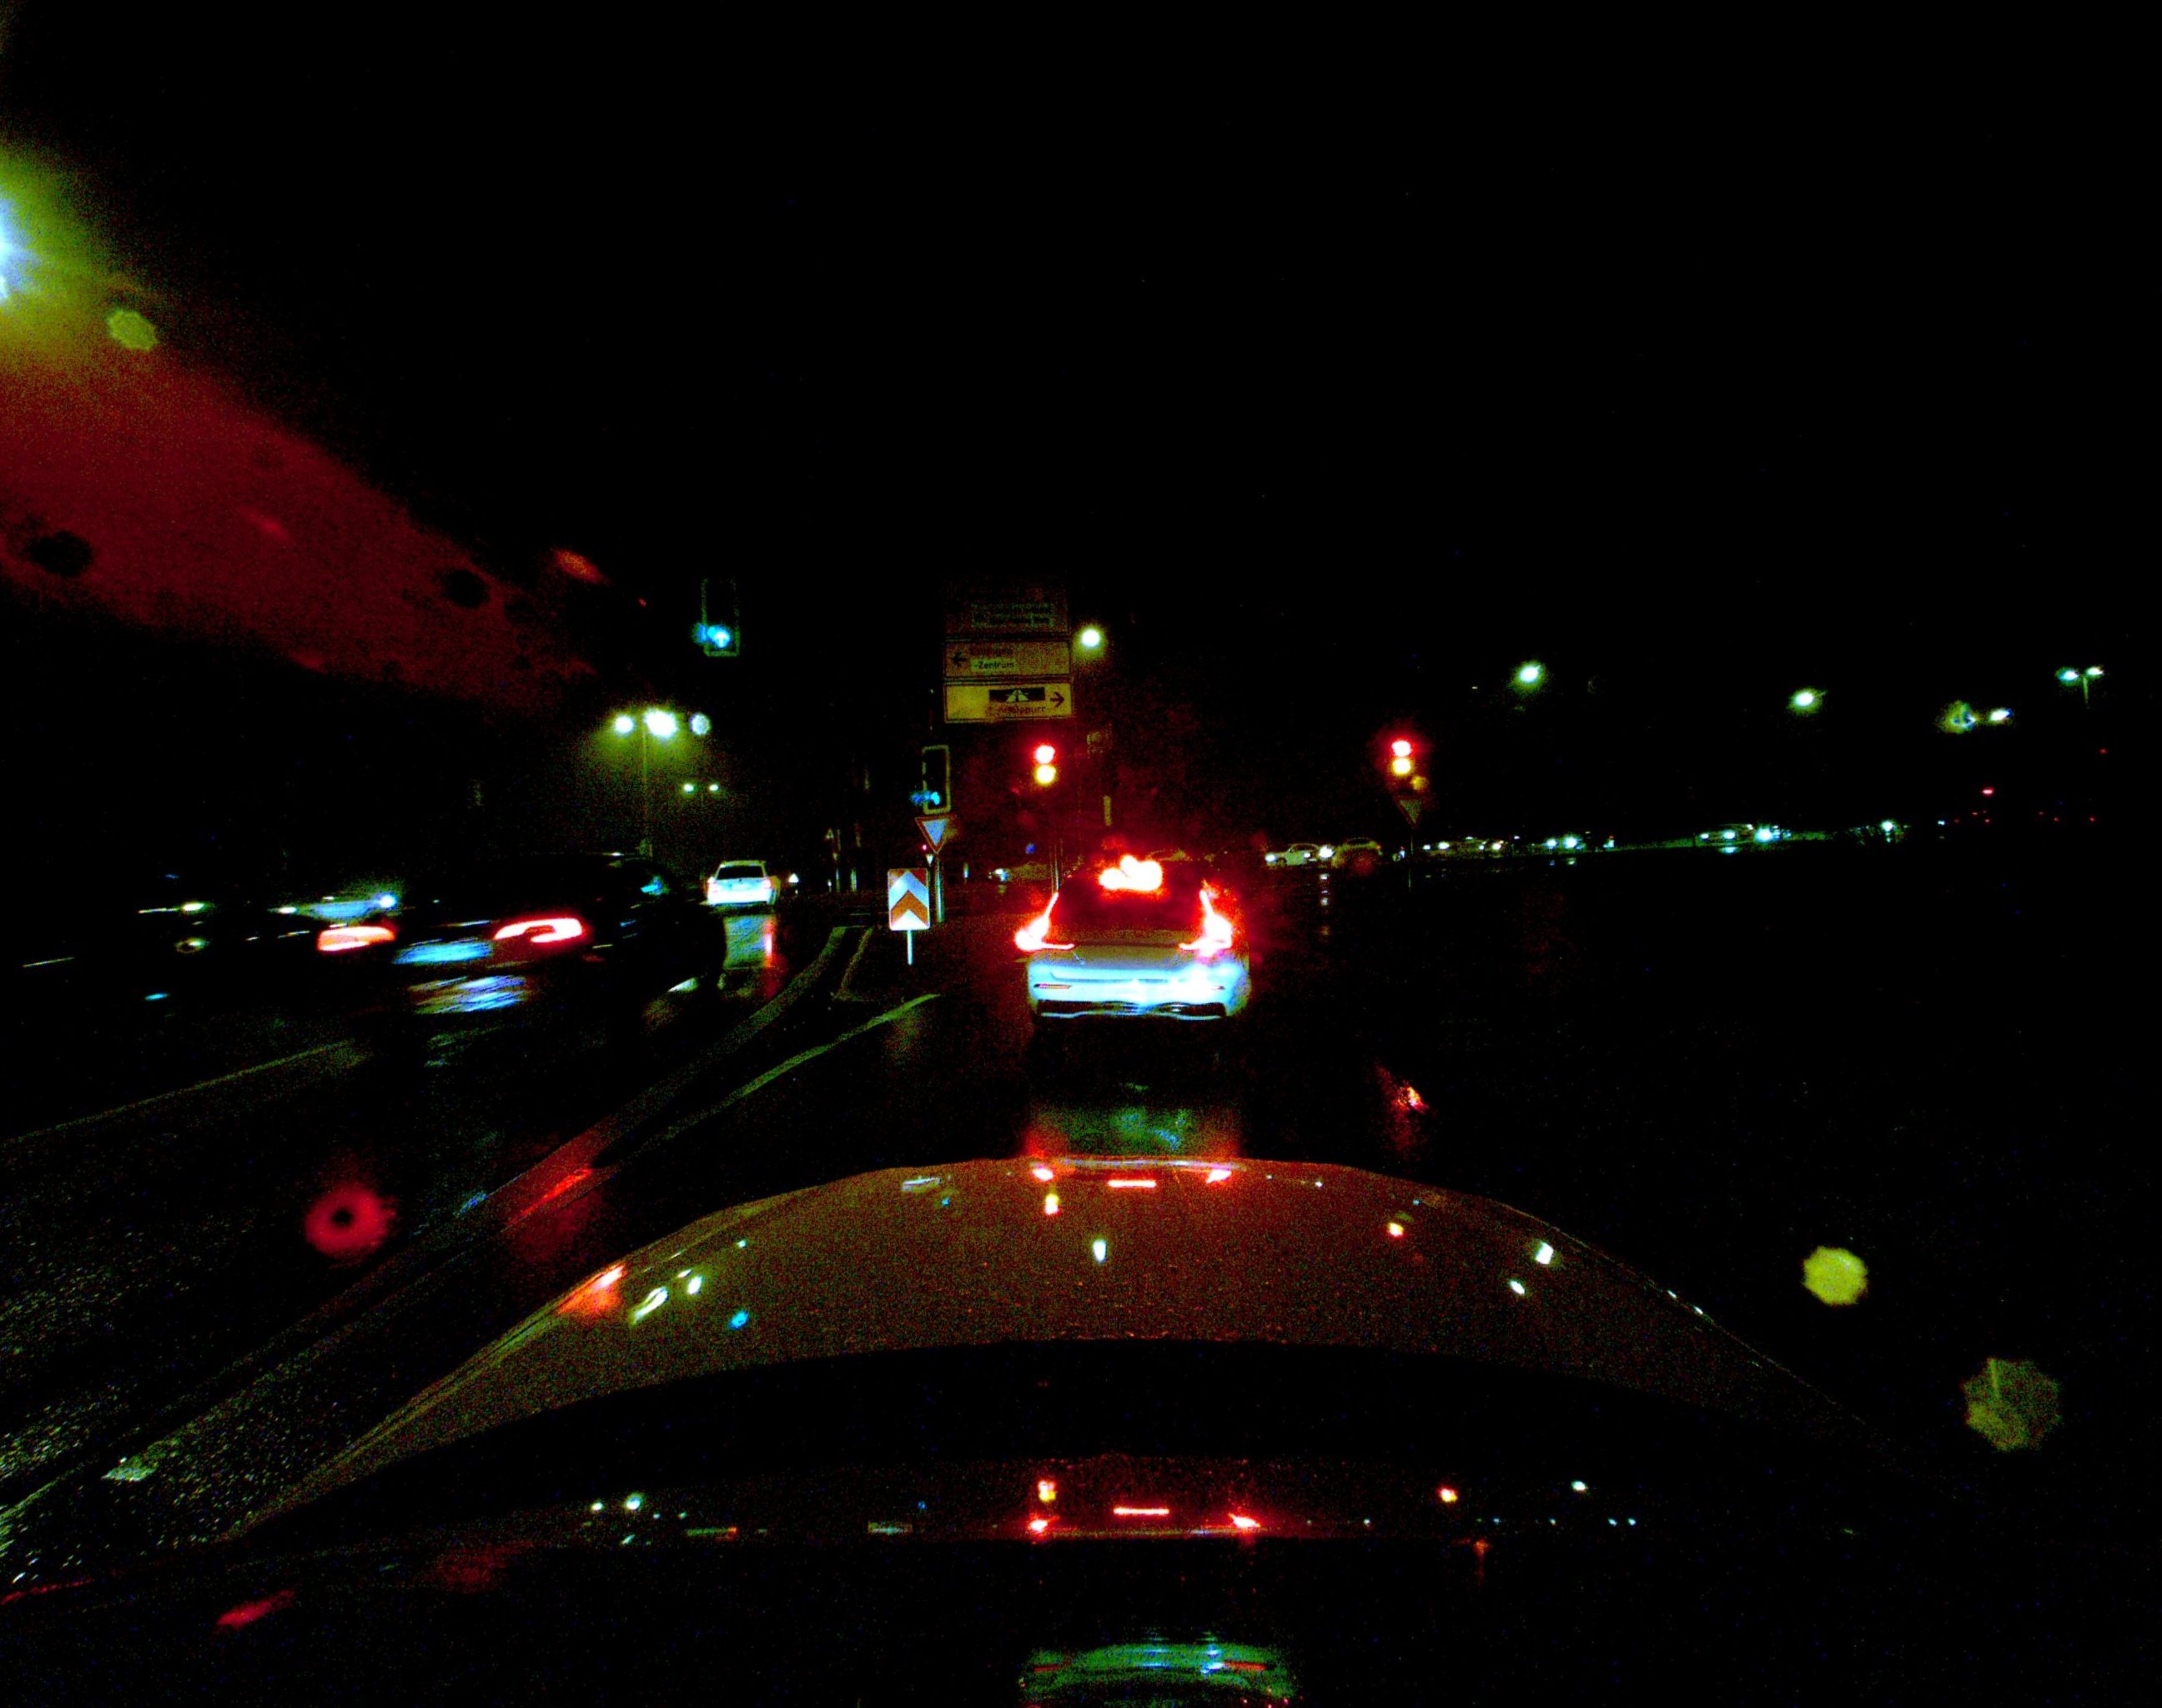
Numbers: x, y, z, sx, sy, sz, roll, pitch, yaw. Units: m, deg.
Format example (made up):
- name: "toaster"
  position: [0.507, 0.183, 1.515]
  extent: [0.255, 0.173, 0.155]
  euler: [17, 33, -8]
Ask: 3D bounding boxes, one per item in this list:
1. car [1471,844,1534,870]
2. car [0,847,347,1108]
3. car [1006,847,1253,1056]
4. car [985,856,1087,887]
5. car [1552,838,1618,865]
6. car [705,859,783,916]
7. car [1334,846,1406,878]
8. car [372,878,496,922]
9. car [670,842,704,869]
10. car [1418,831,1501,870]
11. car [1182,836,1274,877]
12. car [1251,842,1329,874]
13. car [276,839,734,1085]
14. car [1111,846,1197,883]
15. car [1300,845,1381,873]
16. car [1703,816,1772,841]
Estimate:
- name: "car"
  position: [29.404, 0.204, 56.790]
  extent: [4.131, 1.714, 1.751]
  euler: [-1, -1, -25]
- name: "car"
  position: [-8.068, 0.832, 6.189]
  extent: [1.911, 1.658, 3.970]
  euler: [-2, -1, -12]
- name: "car"
  position: [0.762, 0.690, 8.044]
  extent: [1.784, 1.452, 4.283]
  euler: [-1, 1, 11]
- name: "car"
  position: [-2.260, 0.850, 40.936]
  extent: [4.810, 1.427, 1.751]
  euler: [-1, -1, -24]
- name: "car"
  position: [33.181, -0.160, 53.613]
  extent: [3.983, 1.666, 1.789]
  euler: [-1, -1, -25]
- name: "car"
  position: [-9.712, 0.921, 23.725]
  extent: [1.704, 1.463, 4.288]
  euler: [-2, -1, -18]
- name: "car"
  position: [17.988, 0.494, 50.686]
  extent: [4.131, 1.848, 1.751]
  euler: [-1, -1, -25]
- name: "car"
  position: [-25.045, 1.729, 31.759]
  extent: [1.929, 1.463, 4.766]
  euler: [-1, 0, -14]
- name: "car"
  position: [-31.259, 0.152, 64.706]
  extent: [1.779, 2.079, 3.978]
  euler: [0, -1, -16]
- name: "car"
  position: [27.358, -0.253, 58.845]
  extent: [5.617, 2.710, 2.238]
  euler: [-1, -1, -24]
- name: "car"
  position: [6.882, 0.105, 38.085]
  extent: [3.906, 1.725, 1.752]
  euler: [-2, 0, -23]
- name: "car"
  position: [12.276, 0.215, 47.885]
  extent: [4.257, 1.799, 1.789]
  euler: [-1, -1, -25]
- name: "car"
  position: [-4.888, 0.715, 7.850]
  extent: [1.828, 1.653, 4.465]
  euler: [0, 0, -10]
- name: "car"
  position: [3.920, 0.543, 43.776]
  extent: [4.292, 1.848, 1.751]
  euler: [-1, -1, -25]
- name: "car"
  position: [14.241, 0.273, 44.706]
  extent: [4.060, 1.487, 1.706]
  euler: [-1, -1, -21]
- name: "car"
  position: [45.326, -1.760, 56.196]
  extent: [4.417, 1.484, 1.769]
  euler: [-2, -2, -23]
